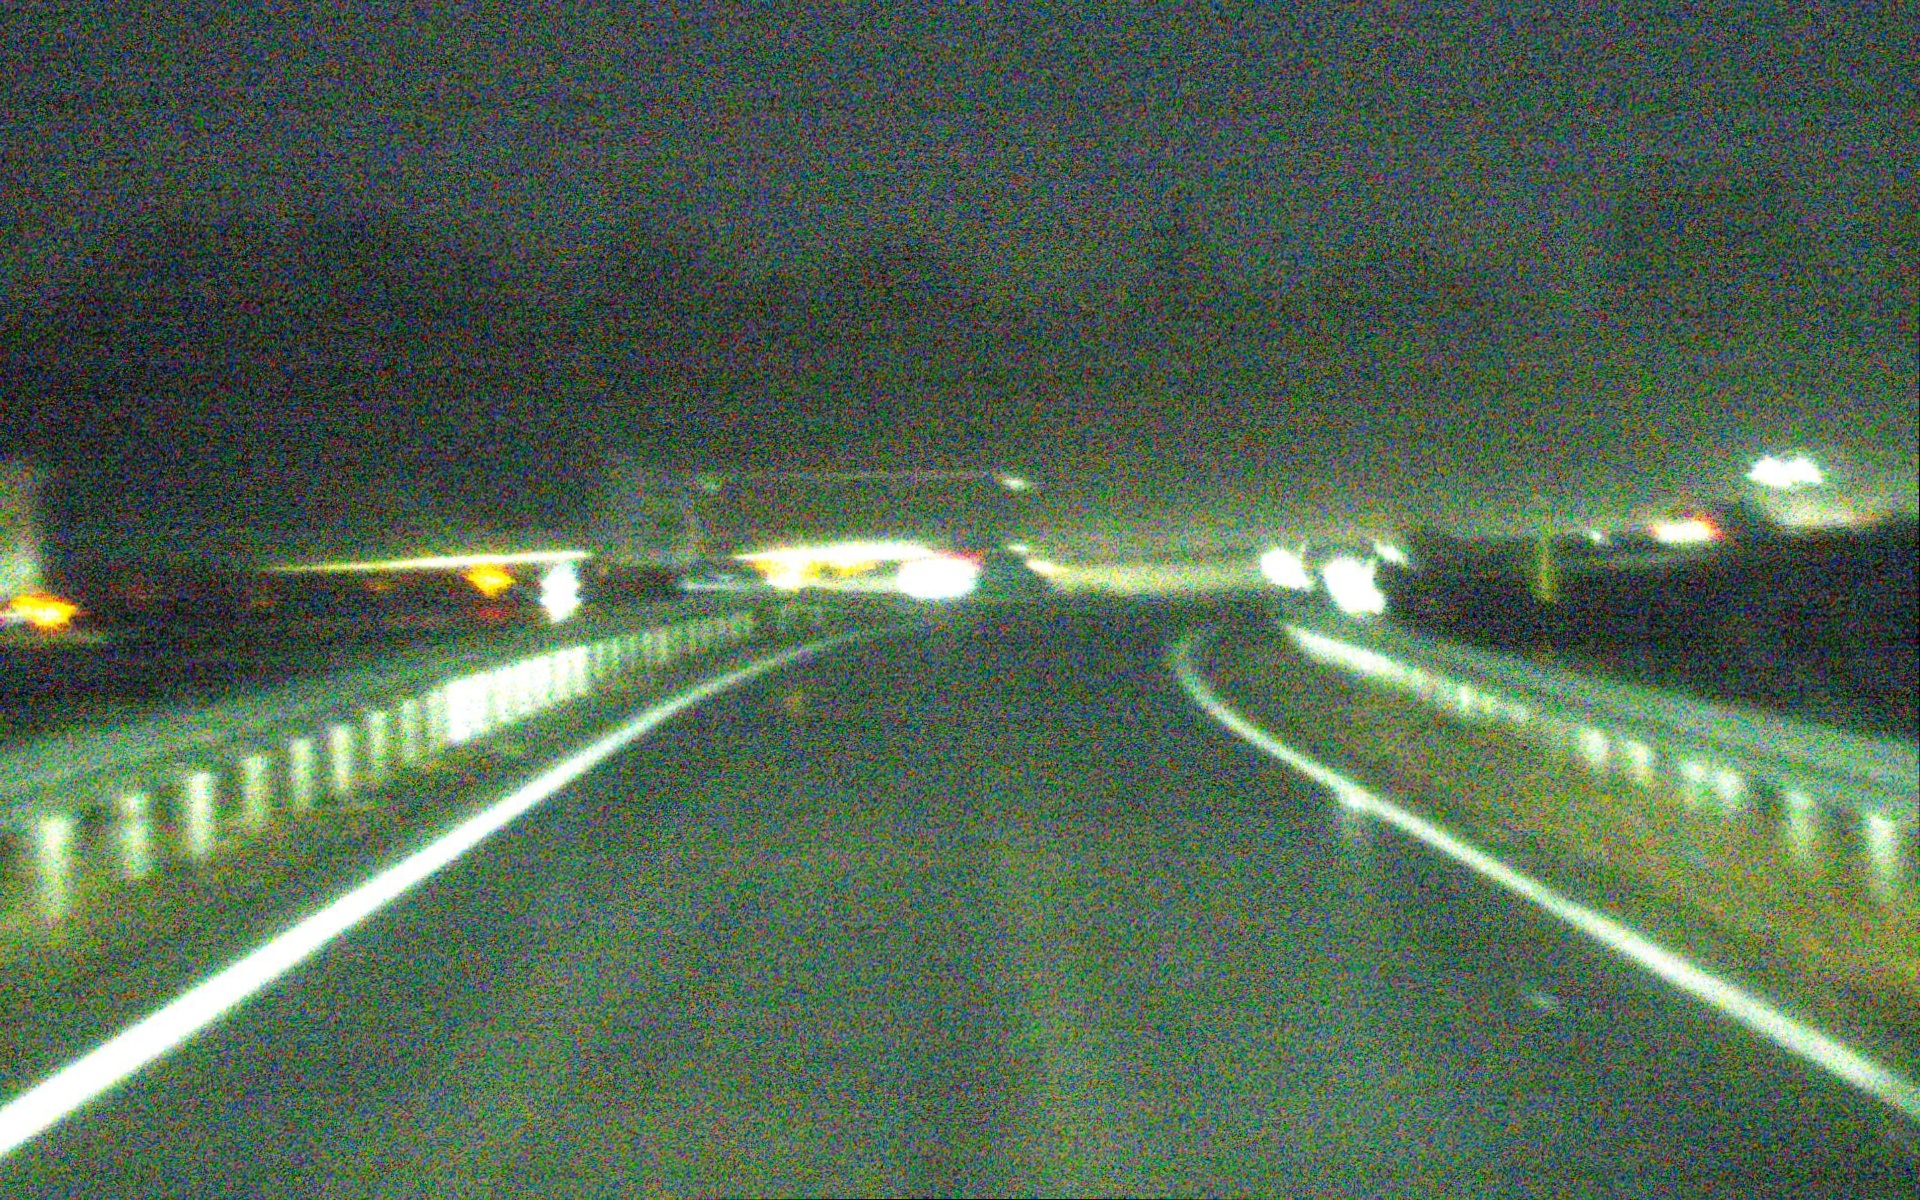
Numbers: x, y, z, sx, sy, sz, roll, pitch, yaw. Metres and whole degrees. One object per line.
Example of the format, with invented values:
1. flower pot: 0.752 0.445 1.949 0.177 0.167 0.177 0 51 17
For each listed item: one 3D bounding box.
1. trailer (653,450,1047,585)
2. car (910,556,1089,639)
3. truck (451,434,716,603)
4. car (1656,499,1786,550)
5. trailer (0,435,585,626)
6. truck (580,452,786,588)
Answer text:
1. trailer: -3.329 -2.734 110.239 13.975 4.015 2.778 -3 3 -41
2. car: 0.959 -0.083 82.137 3.989 1.812 1.999 -3 3 -43
3. truck: -8.541 -1.902 78.354 5.443 3.698 2.595 -3 3 -41
4. car: 24.020 -2.393 108.468 3.989 1.513 1.999 -2 3 -41
5. trailer: -14.398 -1.616 73.317 13.614 3.712 2.599 -3 3 -41
6. truck: -8.480 -2.493 105.737 5.732 4.015 2.778 -3 3 -41
